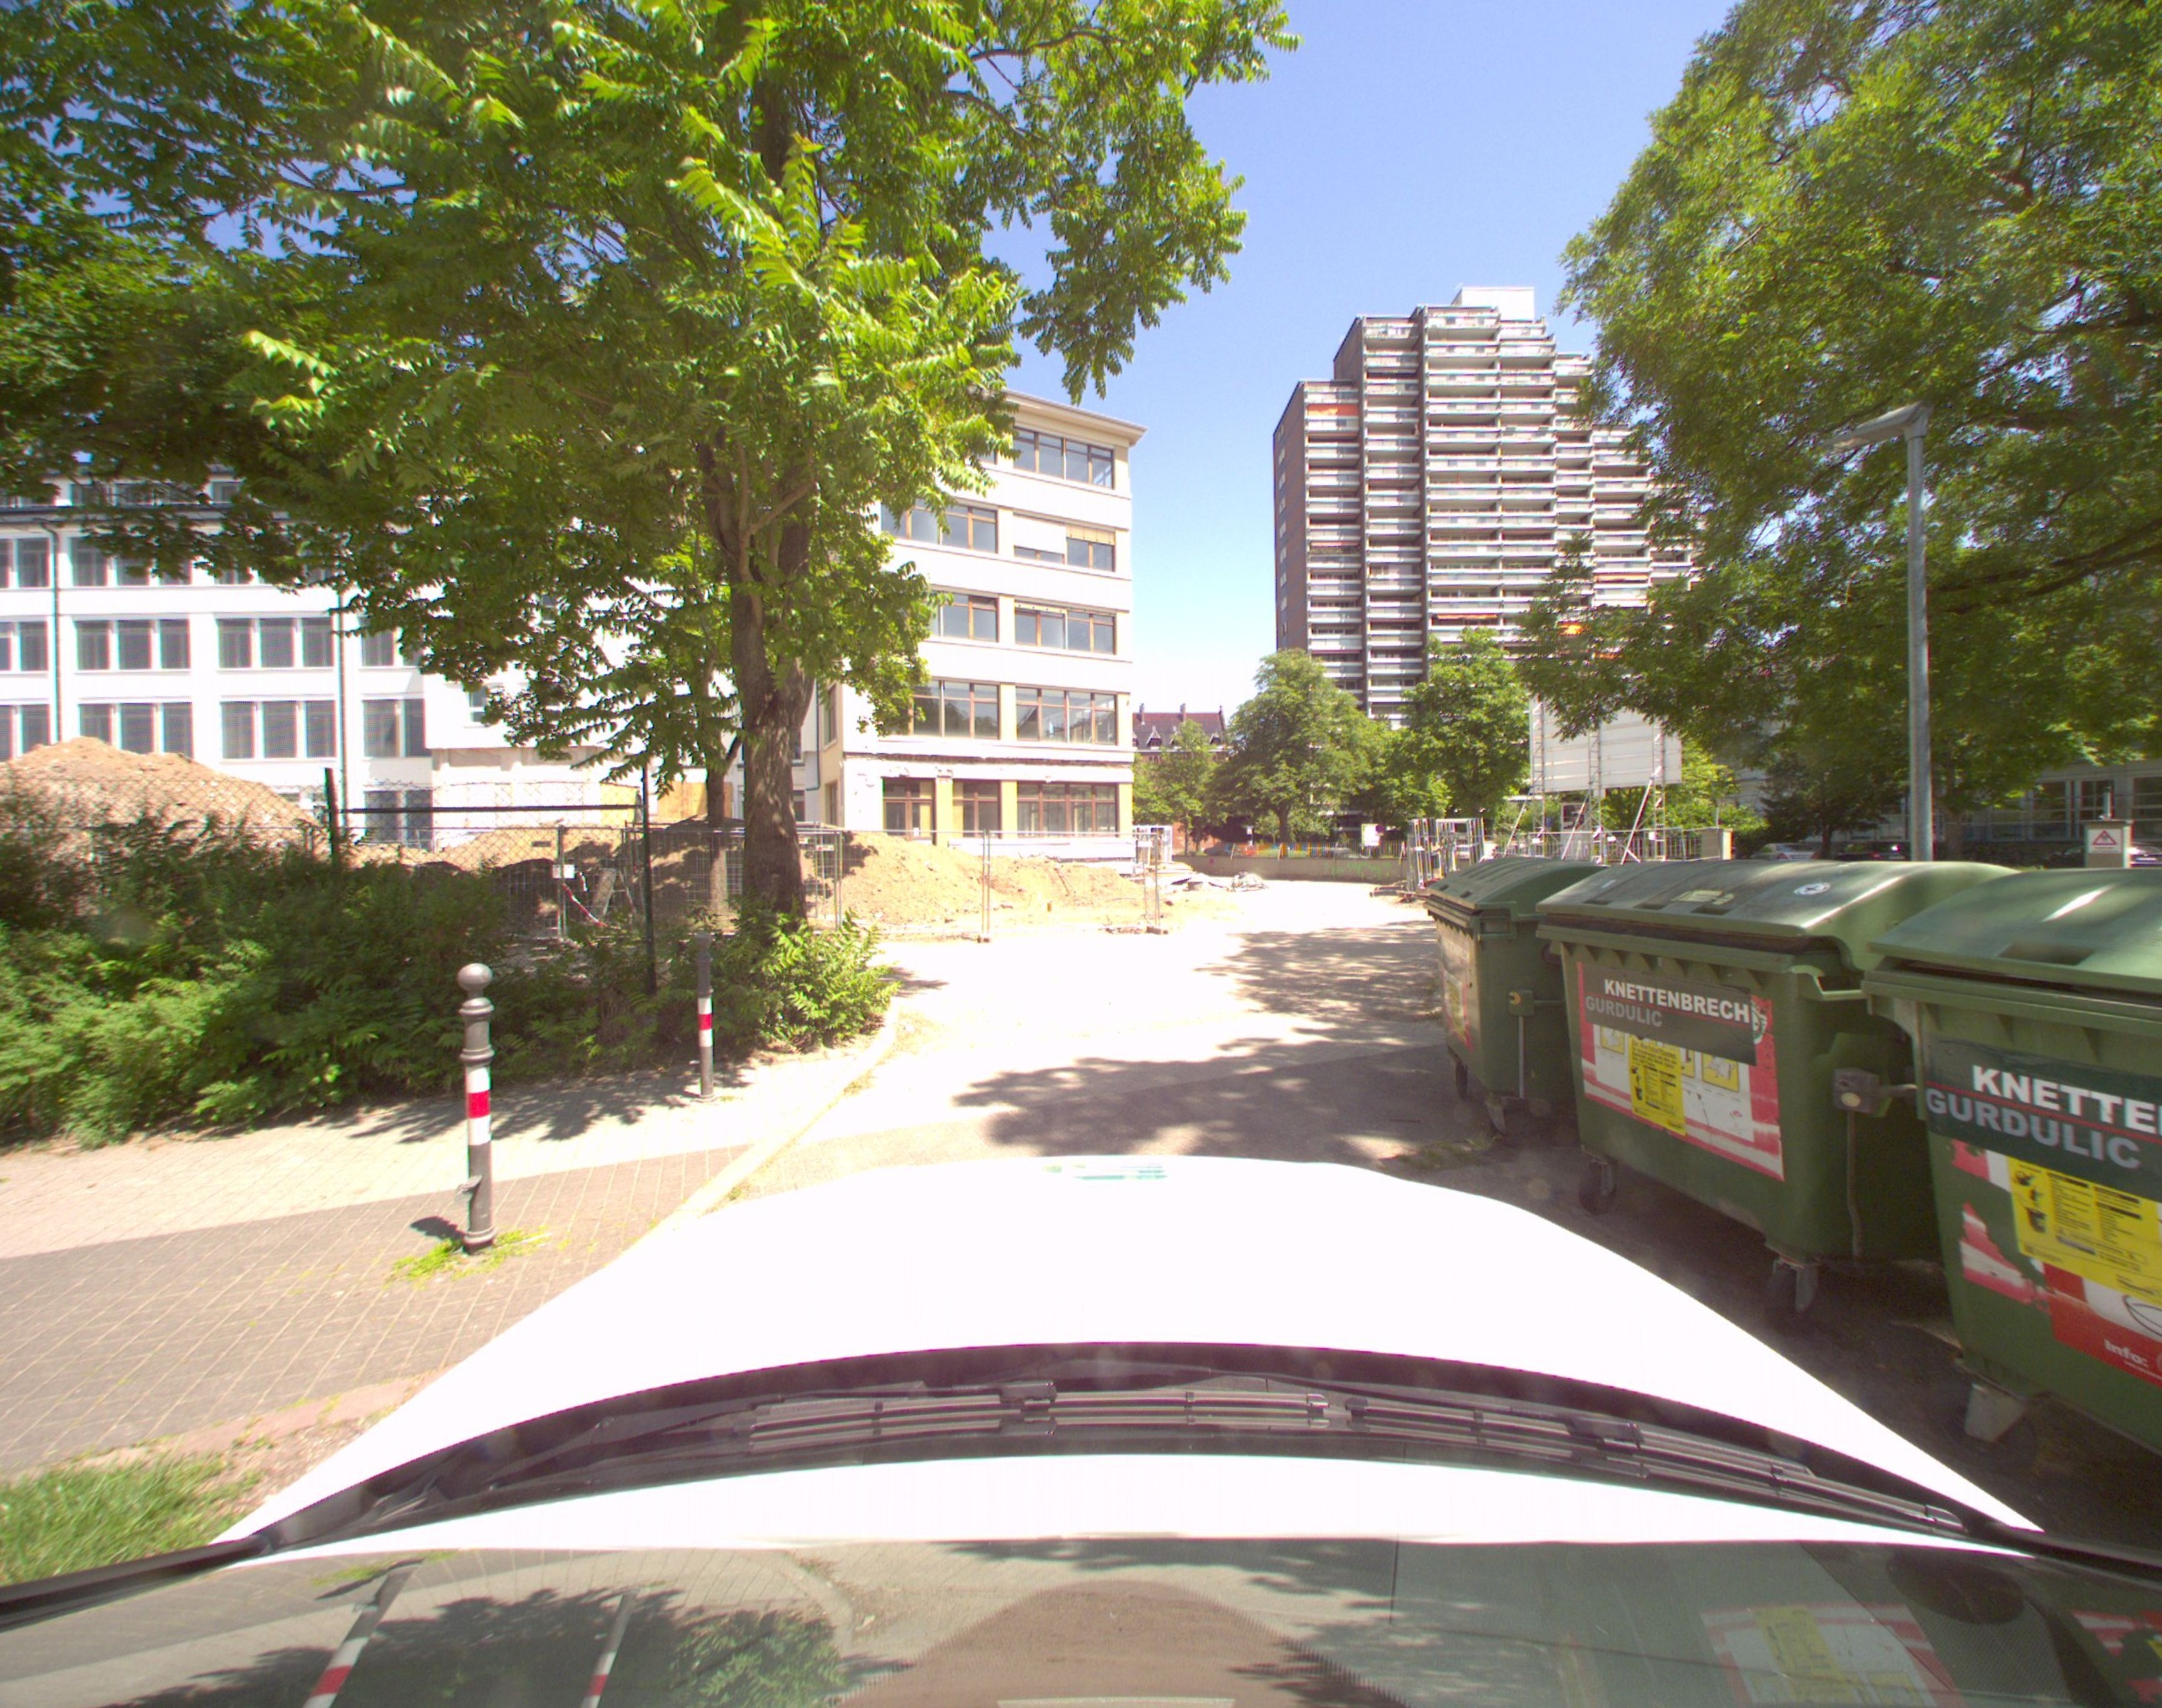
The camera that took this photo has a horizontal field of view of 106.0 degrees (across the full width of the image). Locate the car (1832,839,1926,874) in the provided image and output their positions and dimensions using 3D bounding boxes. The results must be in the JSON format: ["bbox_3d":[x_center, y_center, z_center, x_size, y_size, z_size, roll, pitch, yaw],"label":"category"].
[{"bbox_3d":[35.701,0.091,36.549,1.619,1.463,3.696,-1,0,20],"label":"car"}]

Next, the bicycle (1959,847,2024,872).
[{"bbox_3d":[43.408,0.263,38.846,2.372,1.157,0.782,-1,0,-4],"label":"bicycle"}]

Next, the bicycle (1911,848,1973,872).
[{"bbox_3d":[43.274,0.277,40.939,2.372,1.157,0.782,-1,0,-4],"label":"bicycle"}]

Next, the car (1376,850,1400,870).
[{"bbox_3d":[22.759,0.443,60.321,1.619,1.387,3.697,-1,0,21],"label":"car"}]

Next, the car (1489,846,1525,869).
[{"bbox_3d":[27.340,0.214,52.391,1.619,1.387,3.697,-1,0,21],"label":"car"}]

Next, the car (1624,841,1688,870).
[{"bbox_3d":[30.852,0.067,43.804,1.621,1.463,3.693,-1,0,15],"label":"car"}]

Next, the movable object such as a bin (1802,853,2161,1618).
[{"bbox_3d":[2.658,0.730,1.670,1.176,1.470,1.310,-1,-1,-3],"label":"movable object such as a bin"}]

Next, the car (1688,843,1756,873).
[{"bbox_3d":[32.716,0.188,41.687,1.619,1.463,3.696,-1,0,20],"label":"car"}]

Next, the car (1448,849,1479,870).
[{"bbox_3d":[26.053,0.350,55.514,1.619,1.387,3.697,-1,0,21],"label":"car"}]

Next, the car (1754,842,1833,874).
[{"bbox_3d":[34.323,0.186,39.334,1.619,1.463,3.696,-1,0,20],"label":"car"}]

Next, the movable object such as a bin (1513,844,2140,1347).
[{"bbox_3d":[2.614,0.716,3.112,1.177,1.470,1.309,0,-1,-5],"label":"movable object such as a bin"}]

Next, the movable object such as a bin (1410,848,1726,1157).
[{"bbox_3d":[2.630,0.718,4.652,1.171,1.470,1.337,-1,-1,12],"label":"movable object such as a bin"}]

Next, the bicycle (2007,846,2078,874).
[{"bbox_3d":[43.519,0.269,36.865,2.419,1.188,0.782,-1,0,-4],"label":"bicycle"}]

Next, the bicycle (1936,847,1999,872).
[{"bbox_3d":[43.425,0.274,39.915,2.372,1.157,0.782,-1,0,-4],"label":"bicycle"}]

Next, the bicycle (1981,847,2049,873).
[{"bbox_3d":[43.438,0.272,37.884,2.372,1.157,0.782,-1,0,-4],"label":"bicycle"}]

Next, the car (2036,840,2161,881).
[{"bbox_3d":[38.842,0.220,30.871,1.627,1.463,3.693,-1,0,15],"label":"car"}]
